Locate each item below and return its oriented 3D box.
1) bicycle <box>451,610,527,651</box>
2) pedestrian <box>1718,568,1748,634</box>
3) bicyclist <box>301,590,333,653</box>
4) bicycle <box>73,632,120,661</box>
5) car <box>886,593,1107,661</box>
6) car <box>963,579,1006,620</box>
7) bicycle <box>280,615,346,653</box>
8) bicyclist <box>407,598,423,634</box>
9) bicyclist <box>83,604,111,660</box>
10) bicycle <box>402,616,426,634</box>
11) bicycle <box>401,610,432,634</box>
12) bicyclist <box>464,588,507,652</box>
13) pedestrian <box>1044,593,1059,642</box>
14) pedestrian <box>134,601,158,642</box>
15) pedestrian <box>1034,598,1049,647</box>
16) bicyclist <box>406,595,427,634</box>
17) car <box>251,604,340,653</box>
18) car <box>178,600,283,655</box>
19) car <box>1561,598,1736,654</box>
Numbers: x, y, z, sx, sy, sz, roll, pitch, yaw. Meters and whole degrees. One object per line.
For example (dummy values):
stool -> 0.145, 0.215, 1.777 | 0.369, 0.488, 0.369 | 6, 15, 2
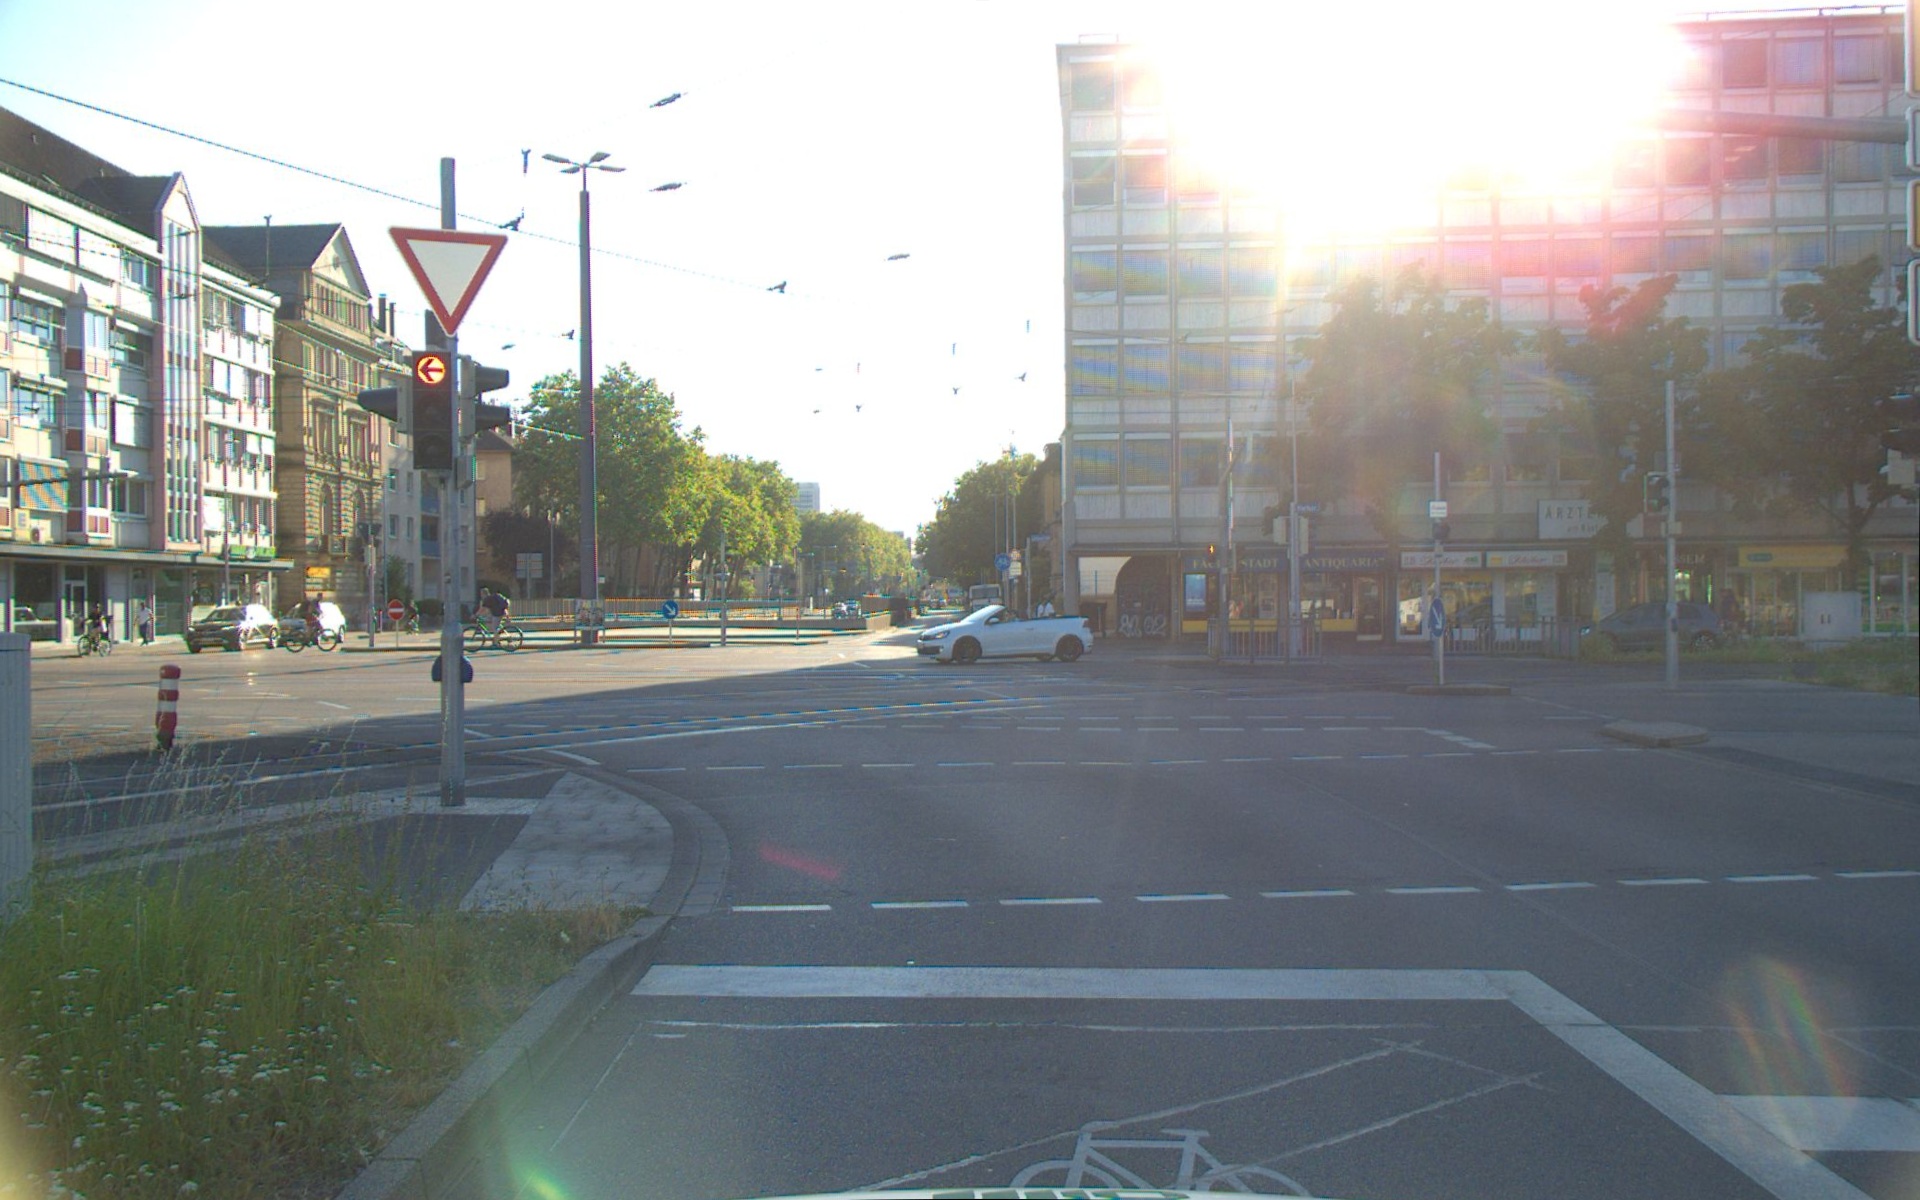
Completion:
bicycle -> -13.161, 0.850, 46.291 | 1.934, 1.117, 0.677 | 0, 0, -5
pedestrian -> 24.238, 0.041, 51.871 | 0.692, 2.049, 0.558 | 0, 0, 2
bicyclist -> -21.062, 0.686, 54.193 | 0.760, 2.049, 0.605 | 0, 0, 5
bicycle -> -29.635, 1.600, 56.782 | 0.586, 0.931, 1.836 | -1, 0, 1
car -> 0.841, 0.608, 38.861 | 4.843, 1.504, 1.990 | 0, 0, -18
car -> 1.492, -0.035, 104.392 | 2.435, 2.434, 5.933 | -2, 0, -1
bicycle -> -21.191, 1.118, 54.200 | 1.919, 1.222, 0.610 | 0, 0, 5
bicyclist -> -28.829, 0.843, 87.537 | 0.580, 1.894, 0.642 | -1, 0, 1
bicyclist -> -29.712, 1.107, 56.949 | 0.580, 1.894, 0.642 | -1, 0, 1
bicycle -> -28.821, 1.327, 87.307 | 0.586, 0.931, 1.836 | -1, 0, 1
bicycle -> -28.817, 1.167, 87.764 | 0.801, 1.215, 2.245 | 0, 0, 2
bicyclist -> -13.282, 0.545, 46.277 | 1.019, 1.769, 0.677 | 0, 0, -5
pedestrian -> 2.900, 0.540, 52.436 | 0.359, 1.534, 0.542 | -1, 0, -7
pedestrian -> -32.425, 0.848, 65.874 | 0.613, 1.633, 0.704 | 0, 0, 1
pedestrian -> 2.532, 0.695, 51.552 | 0.359, 1.534, 0.542 | -1, 0, -7
bicyclist -> -28.824, 0.743, 87.700 | 0.808, 2.049, 0.817 | 0, 0, 2
car -> -27.445, 1.160, 68.431 | 1.952, 1.892, 4.001 | -1, 0, 2
car -> -26.832, 0.988, 60.992 | 1.952, 1.892, 4.001 | -1, 0, 2
car -> 18.523, 0.698, 44.619 | 3.904, 1.445, 2.001 | 0, 0, 2
